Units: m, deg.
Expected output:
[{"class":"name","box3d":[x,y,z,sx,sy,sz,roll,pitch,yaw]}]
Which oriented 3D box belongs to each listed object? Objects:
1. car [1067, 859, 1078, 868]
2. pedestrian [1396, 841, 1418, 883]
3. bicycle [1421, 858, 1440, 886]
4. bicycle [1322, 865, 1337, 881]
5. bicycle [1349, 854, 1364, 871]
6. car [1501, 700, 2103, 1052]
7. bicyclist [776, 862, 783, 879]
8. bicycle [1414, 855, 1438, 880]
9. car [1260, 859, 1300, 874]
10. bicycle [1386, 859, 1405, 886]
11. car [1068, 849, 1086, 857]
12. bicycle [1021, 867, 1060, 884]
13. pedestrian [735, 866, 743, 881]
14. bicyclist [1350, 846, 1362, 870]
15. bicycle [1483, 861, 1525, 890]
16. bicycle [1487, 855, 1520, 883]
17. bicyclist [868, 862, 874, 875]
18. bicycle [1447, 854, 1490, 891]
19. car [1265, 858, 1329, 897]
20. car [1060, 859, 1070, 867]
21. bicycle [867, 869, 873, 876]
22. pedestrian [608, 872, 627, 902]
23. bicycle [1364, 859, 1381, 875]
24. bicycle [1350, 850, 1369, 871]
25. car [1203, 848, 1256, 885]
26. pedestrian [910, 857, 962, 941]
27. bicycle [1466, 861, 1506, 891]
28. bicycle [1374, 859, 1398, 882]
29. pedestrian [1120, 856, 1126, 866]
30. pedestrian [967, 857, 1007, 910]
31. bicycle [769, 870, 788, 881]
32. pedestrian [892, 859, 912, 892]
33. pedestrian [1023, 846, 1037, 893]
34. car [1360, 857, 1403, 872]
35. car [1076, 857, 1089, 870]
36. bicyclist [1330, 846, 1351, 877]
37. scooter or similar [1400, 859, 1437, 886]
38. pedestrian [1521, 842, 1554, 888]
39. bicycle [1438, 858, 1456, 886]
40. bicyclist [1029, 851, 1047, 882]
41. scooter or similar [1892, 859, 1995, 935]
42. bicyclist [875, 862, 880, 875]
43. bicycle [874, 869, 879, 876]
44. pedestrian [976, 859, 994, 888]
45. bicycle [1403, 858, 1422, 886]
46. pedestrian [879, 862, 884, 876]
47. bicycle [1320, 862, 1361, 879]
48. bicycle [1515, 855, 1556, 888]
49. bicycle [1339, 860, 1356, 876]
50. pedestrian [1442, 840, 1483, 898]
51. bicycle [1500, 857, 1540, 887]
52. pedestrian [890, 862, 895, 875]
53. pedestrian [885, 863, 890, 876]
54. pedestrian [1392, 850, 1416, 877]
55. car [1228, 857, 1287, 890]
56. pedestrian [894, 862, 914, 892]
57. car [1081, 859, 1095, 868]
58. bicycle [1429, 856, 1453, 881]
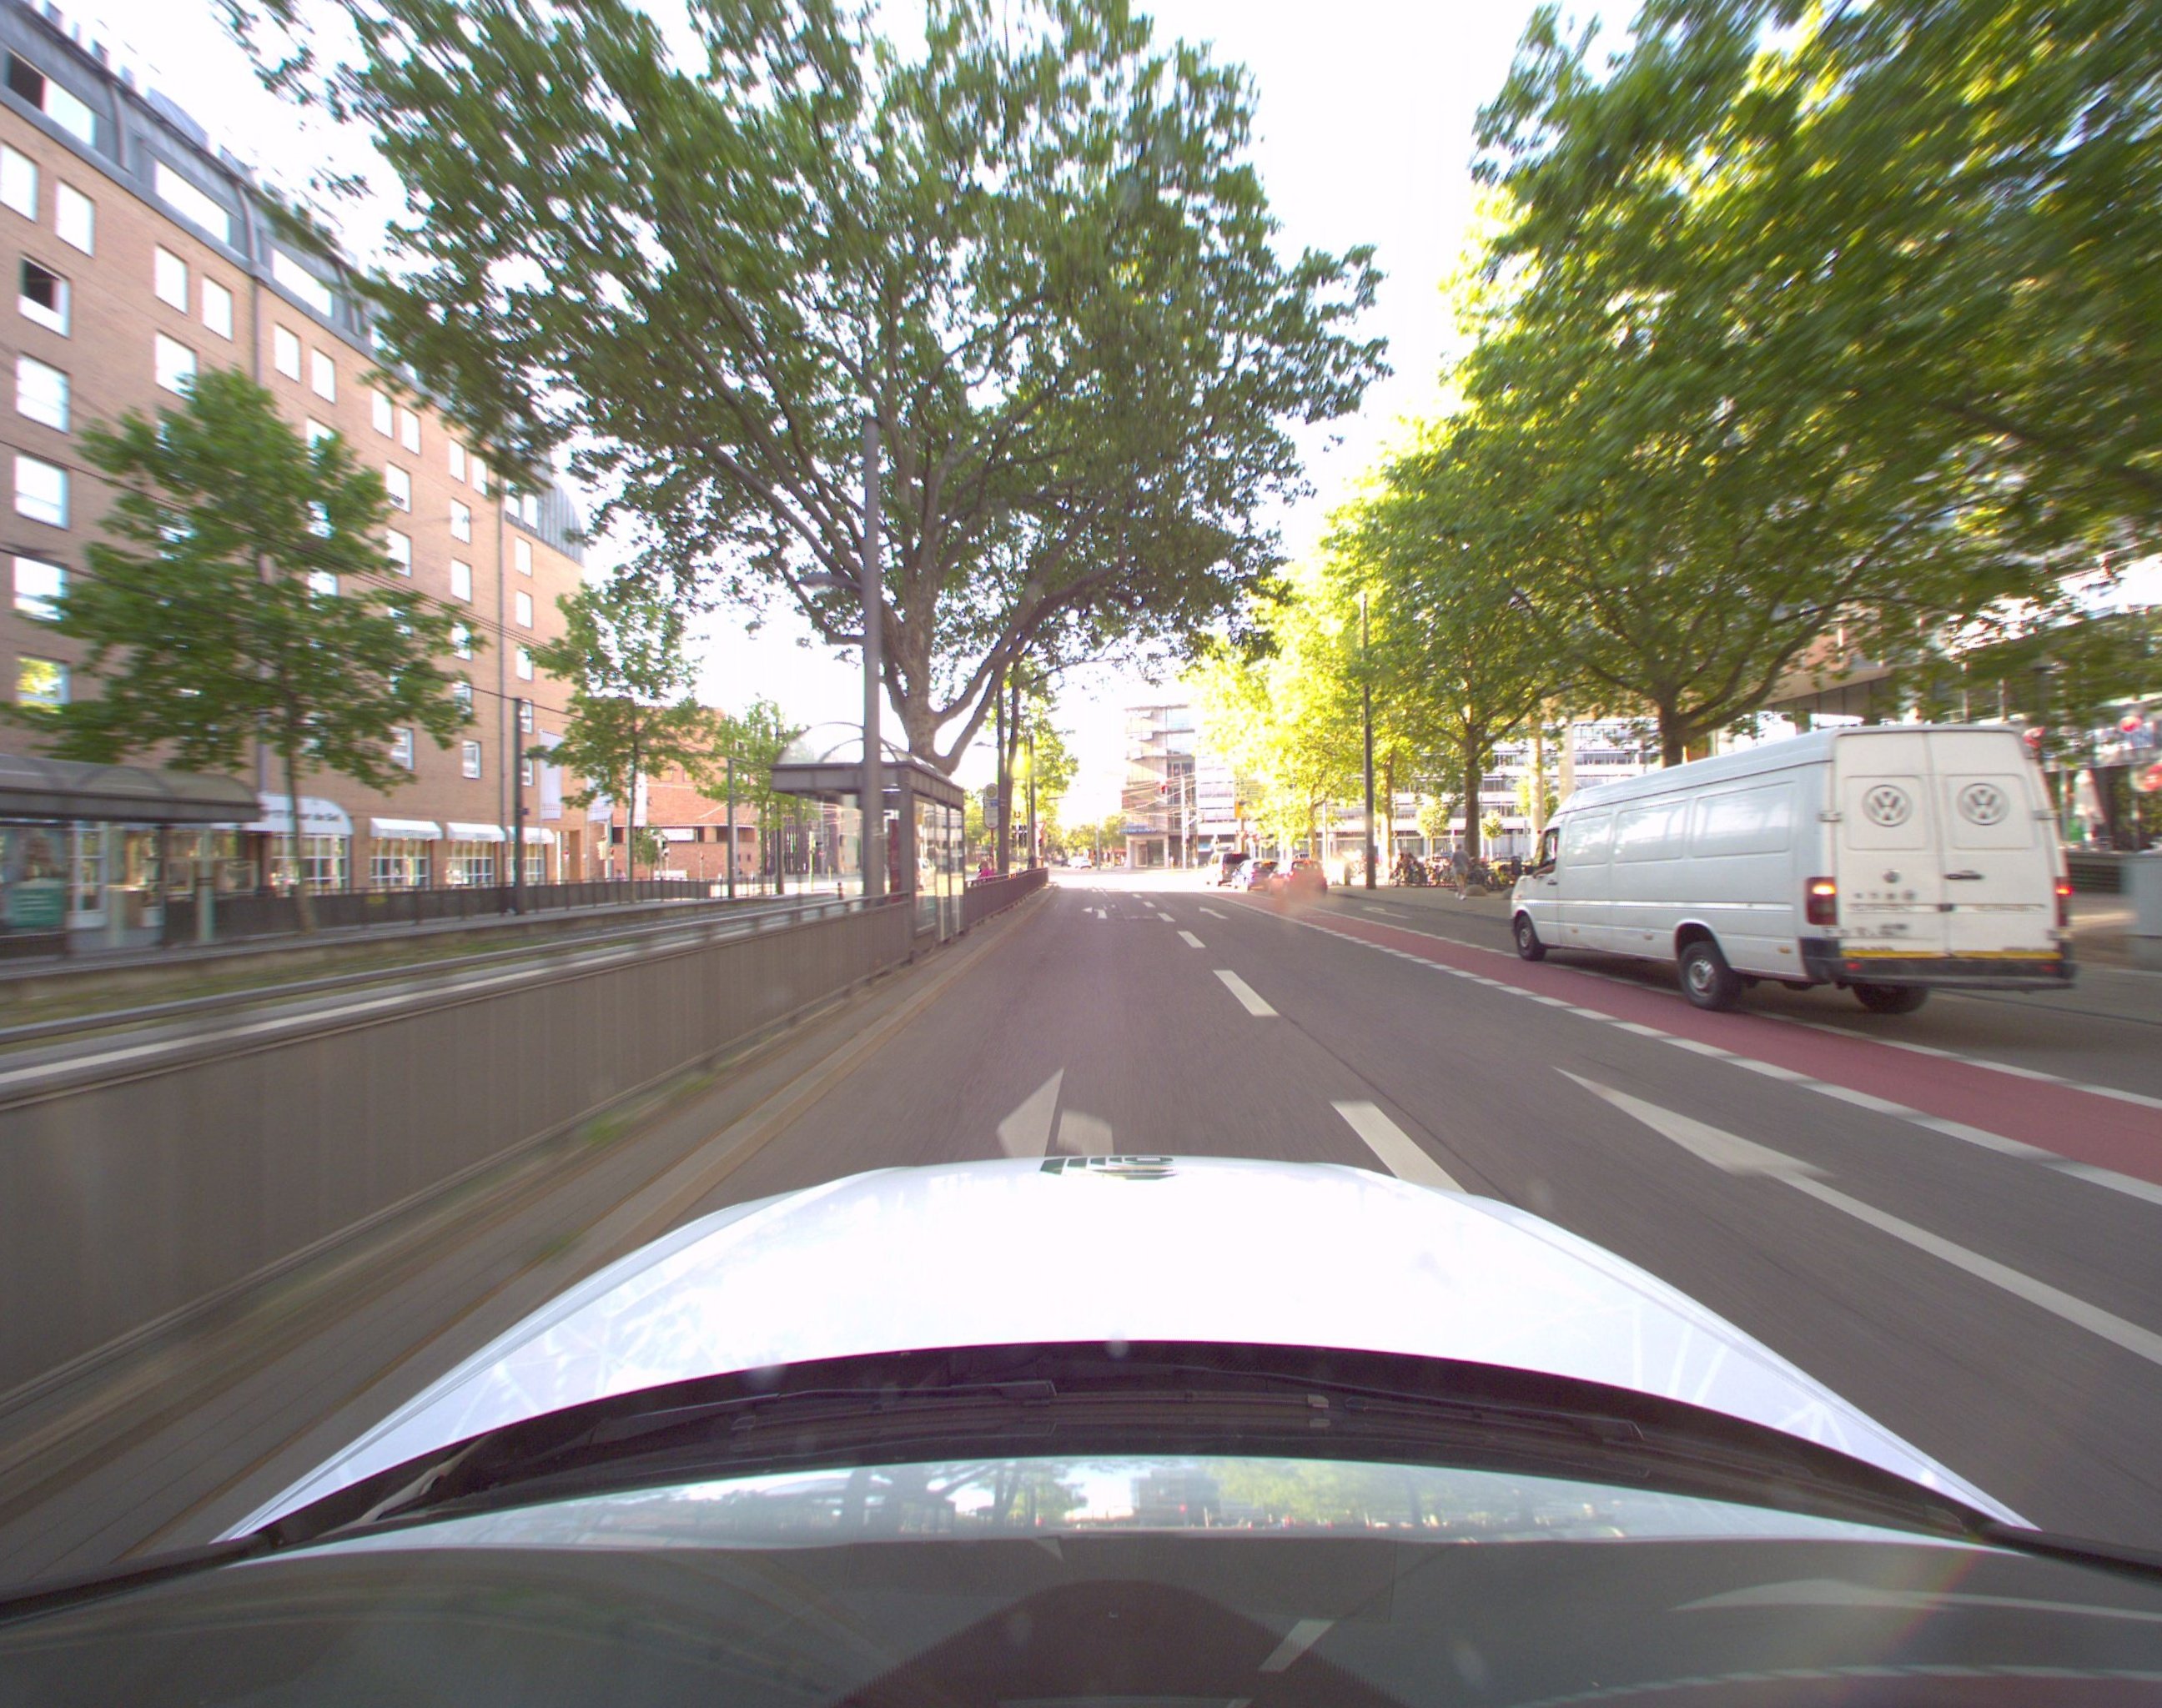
[{"class":"car","box3d":[-1.565,1.688,148.906,1.988,1.662,3.997,-2,0,-2]},{"class":"pedestrian","box3d":[13.926,0.348,34.787,0.799,1.786,0.661,-2,-1,25]},{"class":"bicycle","box3d":[14.703,0.755,34.247,0.590,1.116,1.837,-2,-1,26]},{"class":"bicycle","box3d":[15.596,1.171,51.179,0.419,0.979,1.475,-1,0,-3]},{"class":"bicycle","box3d":[19.007,0.585,56.291,0.563,1.126,1.781,-2,0,5]},{"class":"car","box3d":[7.315,0.186,9.676,1.983,2.724,6.574,0,0,7]},{"class":"bicyclist","box3d":[-35.336,1.932,95.524,0.565,2.060,0.446,-1,-1,-43]},{"class":"bicycle","box3d":[16.439,0.651,38.783,0.419,1.159,1.475,-1,-1,-3]},{"class":"car","box3d":[22.480,1.402,92.064,4.221,1.602,1.798,-2,-1,4]},{"class":"bicycle","box3d":[13.630,0.797,35.281,0.590,1.116,1.837,-2,-1,26]},{"class":"car","box3d":[-1.002,-0.285,184.108,3.735,1.750,1.788,0,-1,13]},{"class":"bicycle","box3d":[-2.425,1.256,48.536,2.183,0.933,0.664,-1,-1,-18]},{"class":"pedestrian","box3d":[-37.983,2.193,90.553,0.538,1.613,0.574,-2,-1,29]},{"class":"bicyclist","box3d":[18.990,0.289,56.216,0.559,1.616,0.823,-2,-1,5]},{"class":"bicycle","box3d":[15.449,0.766,29.769,0.594,1.032,1.654,-1,0,-2]},{"class":"bicycle","box3d":[18.099,0.619,34.895,0.420,1.159,1.471,-1,-1,-10]},{"class":"bicyclist","box3d":[-27.931,1.897,108.445,0.593,1.675,0.787,-1,-1,-8]},{"class":"bicycle","box3d":[14.093,0.663,29.670,0.594,1.264,1.875,-1,0,-2]},{"class":"car","box3d":[8.642,0.909,32.881,1.554,1.464,3.619,0,-1,-2]},{"class":"car","box3d":[-3.284,1.832,170.546,1.988,1.662,3.997,-2,0,-2]},{"class":"bicycle","box3d":[-28.074,2.457,108.323,0.512,0.881,1.833,-1,0,-9]},{"class":"pedestrian","box3d":[-25.409,1.804,44.616,0.588,1.584,0.724,1,-1,-3]},{"class":"bicycle","box3d":[18.311,0.802,51.161,0.449,0.983,1.475,-1,0,-3]},{"class":"bicycle","box3d":[17.548,0.411,51.282,0.449,1.286,1.885,-1,0,-3]},{"class":"car","box3d":[8.289,0.689,45.877,1.988,1.966,5.134,0,0,-1]},{"class":"pedestrian","box3d":[-2.466,0.756,13.949,0.731,1.387,0.641,0,-1,3]},{"class":"bicycle","box3d":[14.757,0.793,29.724,0.594,1.032,1.654,-1,0,-2]},{"class":"bicycle","box3d":[14.471,0.787,38.617,0.625,1.057,1.574,-2,0,4]},{"class":"pedestrian","box3d":[6.267,1.094,121.857,0.738,1.465,0.536,-2,-1,-4]},{"class":"pedestrian","box3d":[-2.524,0.798,21.954,0.972,1.400,0.664,0,-1,3]},{"class":"bicycle","box3d":[-35.440,2.535,95.409,2.108,1.239,0.448,-2,-1,-43]},{"class":"pedestrian","box3d":[-10.298,1.215,46.882,1.073,1.871,0.736,0,-1,-9]},{"class":"pedestrian","box3d":[-2.056,0.624,32.902,0.508,1.900,0.759,0,-1,-1]},{"class":"car","box3d":[33.514,1.163,90.942,4.221,1.560,1.797,-2,-1,4]},{"class":"car","box3d":[0.174,1.524,133.754,1.988,1.992,3.997,-2,0,-2]},{"class":"bicyclist","box3d":[14.905,0.431,46.835,0.841,1.767,0.757,-2,-1,43]},{"class":"scooter or similar","box3d":[15.031,0.845,36.262,1.255,1.142,0.911,2,-3,-15]},{"class":"pedestrian","box3d":[17.717,0.423,31.618,0.814,1.757,0.772,-2,-1,4]},{"class":"bicycle","box3d":[15.272,0.725,33.973,0.601,1.116,1.837,-2,-1,26]},{"class":"bicyclist","box3d":[-2.577,0.755,48.482,0.852,1.785,0.748,-1,-1,-18]},{"class":"scooter or similar","box3d":[14.398,0.717,13.610,1.202,1.224,0.412,-2,-1,4]},{"class":"bicyclist","box3d":[-27.178,1.906,108.728,0.593,1.675,0.787,-1,-1,-8]},{"class":"bicycle","box3d":[-27.270,2.418,108.659,0.512,0.881,1.833,-1,0,-9]},{"class":"pedestrian","box3d":[-5.782,1.187,48.999,1.071,1.715,0.627,0,-1,-5]},{"class":"bicycle","box3d":[14.070,0.756,34.571,0.590,1.116,1.961,-2,-1,26]},{"class":"pedestrian","box3d":[-24.989,1.858,102.082,0.538,1.650,0.621,-1,-1,-21]},{"class":"bicycle","box3d":[14.900,0.936,46.843,2.156,0.933,0.672,-2,-1,43]},{"class":"bicycle","box3d":[16.604,0.623,29.798,0.500,1.137,1.654,-1,0,-2]},{"class":"bicycle","box3d":[16.813,0.849,51.416,0.449,0.983,1.475,-1,0,-3]},{"class":"pedestrian","box3d":[12.127,0.478,25.921,0.869,1.786,0.808,-2,-1,0]},{"class":"bicycle","box3d":[16.057,0.643,29.807,0.500,1.032,1.654,-1,0,-2]},{"class":"pedestrian","box3d":[-23.656,1.863,102.320,0.538,1.650,0.621,-1,-1,-21]},{"class":"pedestrian","box3d":[-24.433,1.932,102.955,0.538,1.650,0.621,-1,-1,-21]},{"class":"pedestrian","box3d":[22.225,0.629,56.006,1.207,1.822,1.039,0,-1,-7]},{"class":"car","box3d":[8.435,0.911,39.332,1.761,1.464,4.213,-2,0,-3]},{"class":"pedestrian","box3d":[-10.043,1.307,46.158,1.072,1.682,0.755,0,-1,-9]},{"class":"car","box3d":[1.035,1.519,126.858,1.988,1.332,3.997,-2,0,-2]},{"class":"bicycle","box3d":[17.178,0.686,38.896,0.419,1.159,1.476,-1,-1,-1]}]
